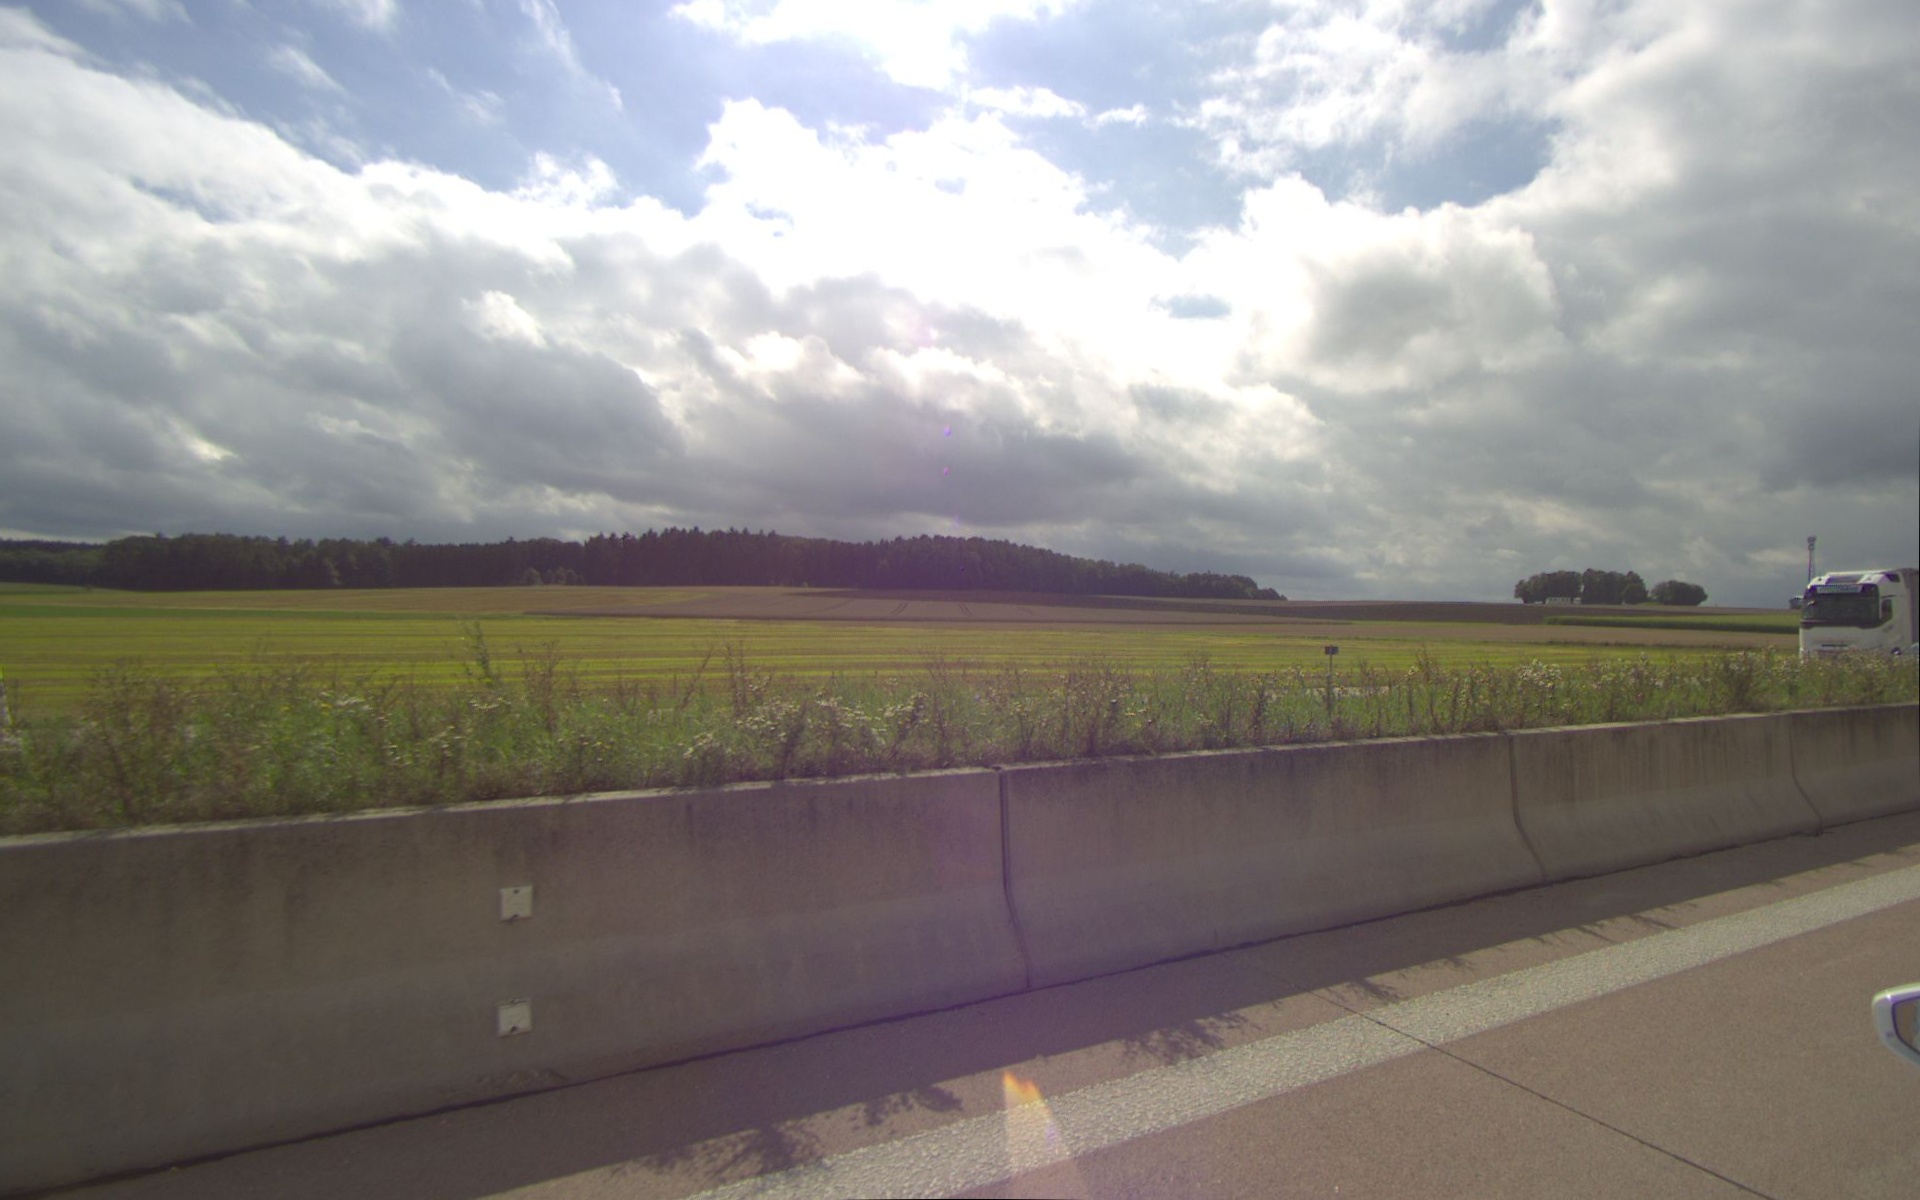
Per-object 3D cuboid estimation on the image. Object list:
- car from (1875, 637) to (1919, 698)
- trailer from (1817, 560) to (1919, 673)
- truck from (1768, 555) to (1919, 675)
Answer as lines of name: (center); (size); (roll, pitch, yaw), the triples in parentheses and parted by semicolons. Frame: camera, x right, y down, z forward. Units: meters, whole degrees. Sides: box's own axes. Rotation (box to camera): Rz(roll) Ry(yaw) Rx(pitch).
car: (31.316, 2.140, 32.146); (4.419, 1.771, 1.764); (1, 1, -31)
trailer: (40.391, 0.664, 41.413); (13.094, 4.153, 3.194); (1, 1, -29)
truck: (33.828, 0.532, 37.794); (6.050, 4.153, 3.192); (1, 1, -29)
